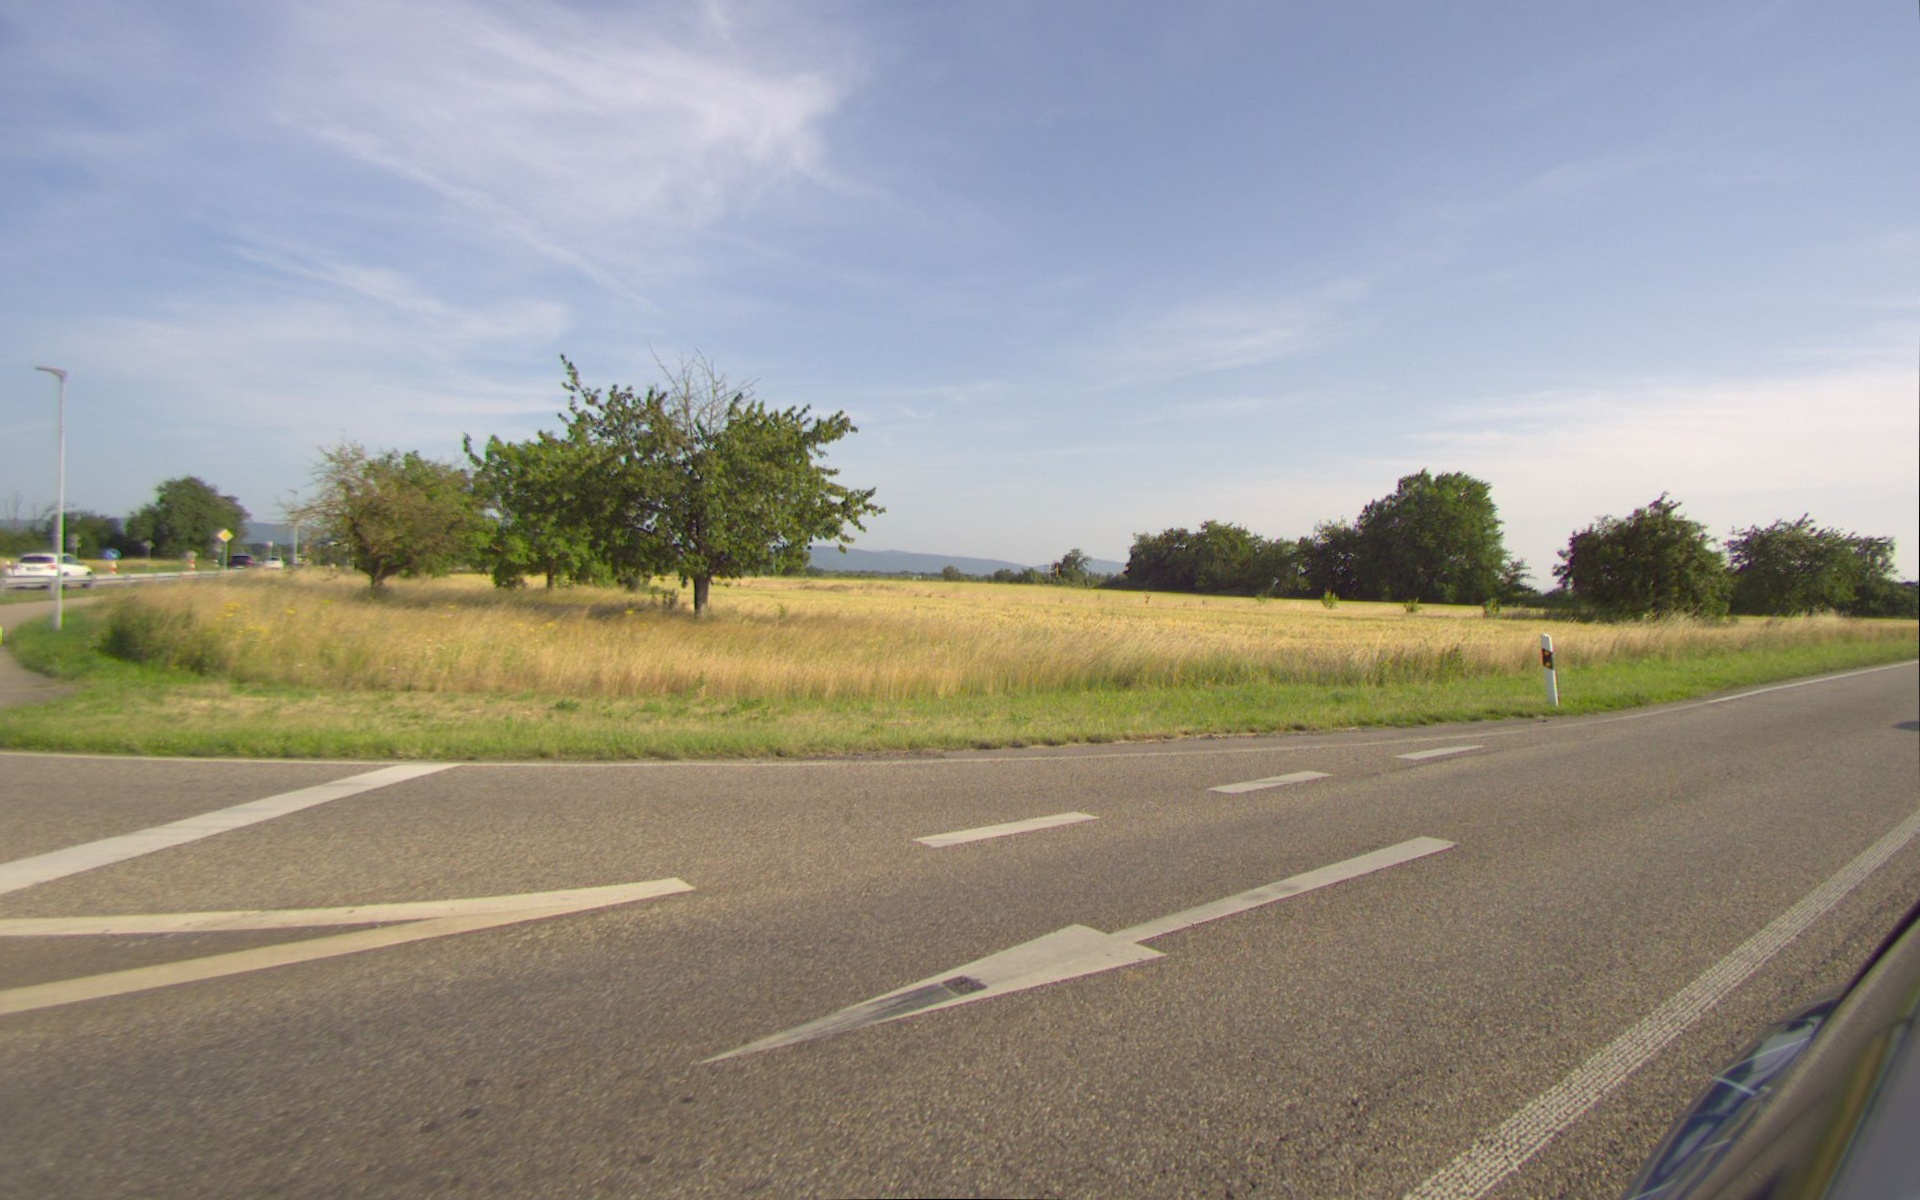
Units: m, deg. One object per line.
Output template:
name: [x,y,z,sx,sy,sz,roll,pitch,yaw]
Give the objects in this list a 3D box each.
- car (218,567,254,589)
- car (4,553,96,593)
car: [-58.814,-1.785,82.258,1.727,1.739,3.770,0,0,-26]
car: [-40.870,-1.176,45.560,1.697,1.683,4.008,0,0,-21]
